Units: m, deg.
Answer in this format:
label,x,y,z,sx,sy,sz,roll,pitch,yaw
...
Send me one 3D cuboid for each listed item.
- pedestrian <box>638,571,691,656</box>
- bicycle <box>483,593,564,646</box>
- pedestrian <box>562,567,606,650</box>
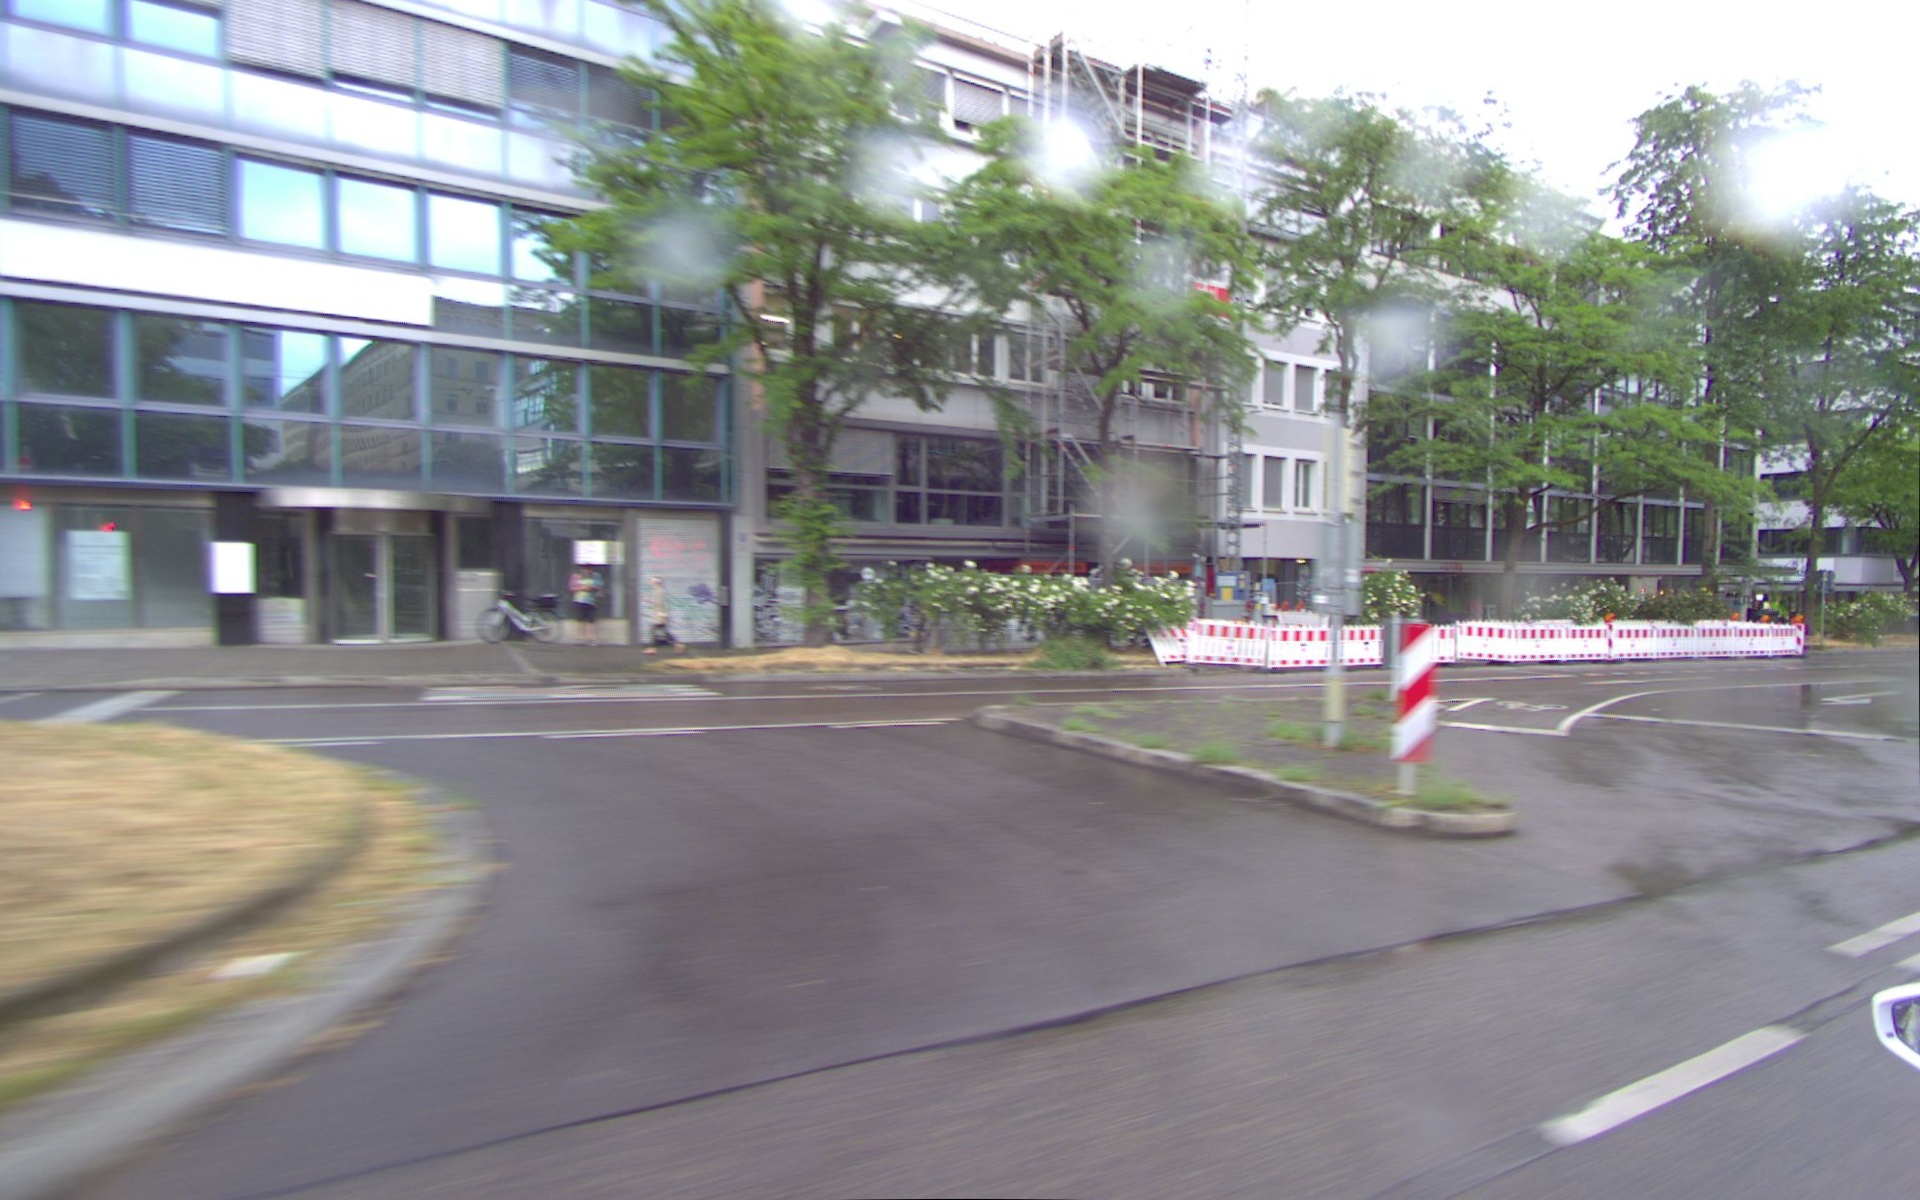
label,x,y,z,sx,sy,sz,roll,pitch,yaw
pedestrian,-6.297,0.285,21.385,0.867,1.765,0.689,2,2,-33
bicycle,-9.267,0.416,21.353,1.544,1.100,0.444,1,1,-27
pedestrian,-8.184,0.176,21.861,0.688,1.765,0.691,1,2,-36
